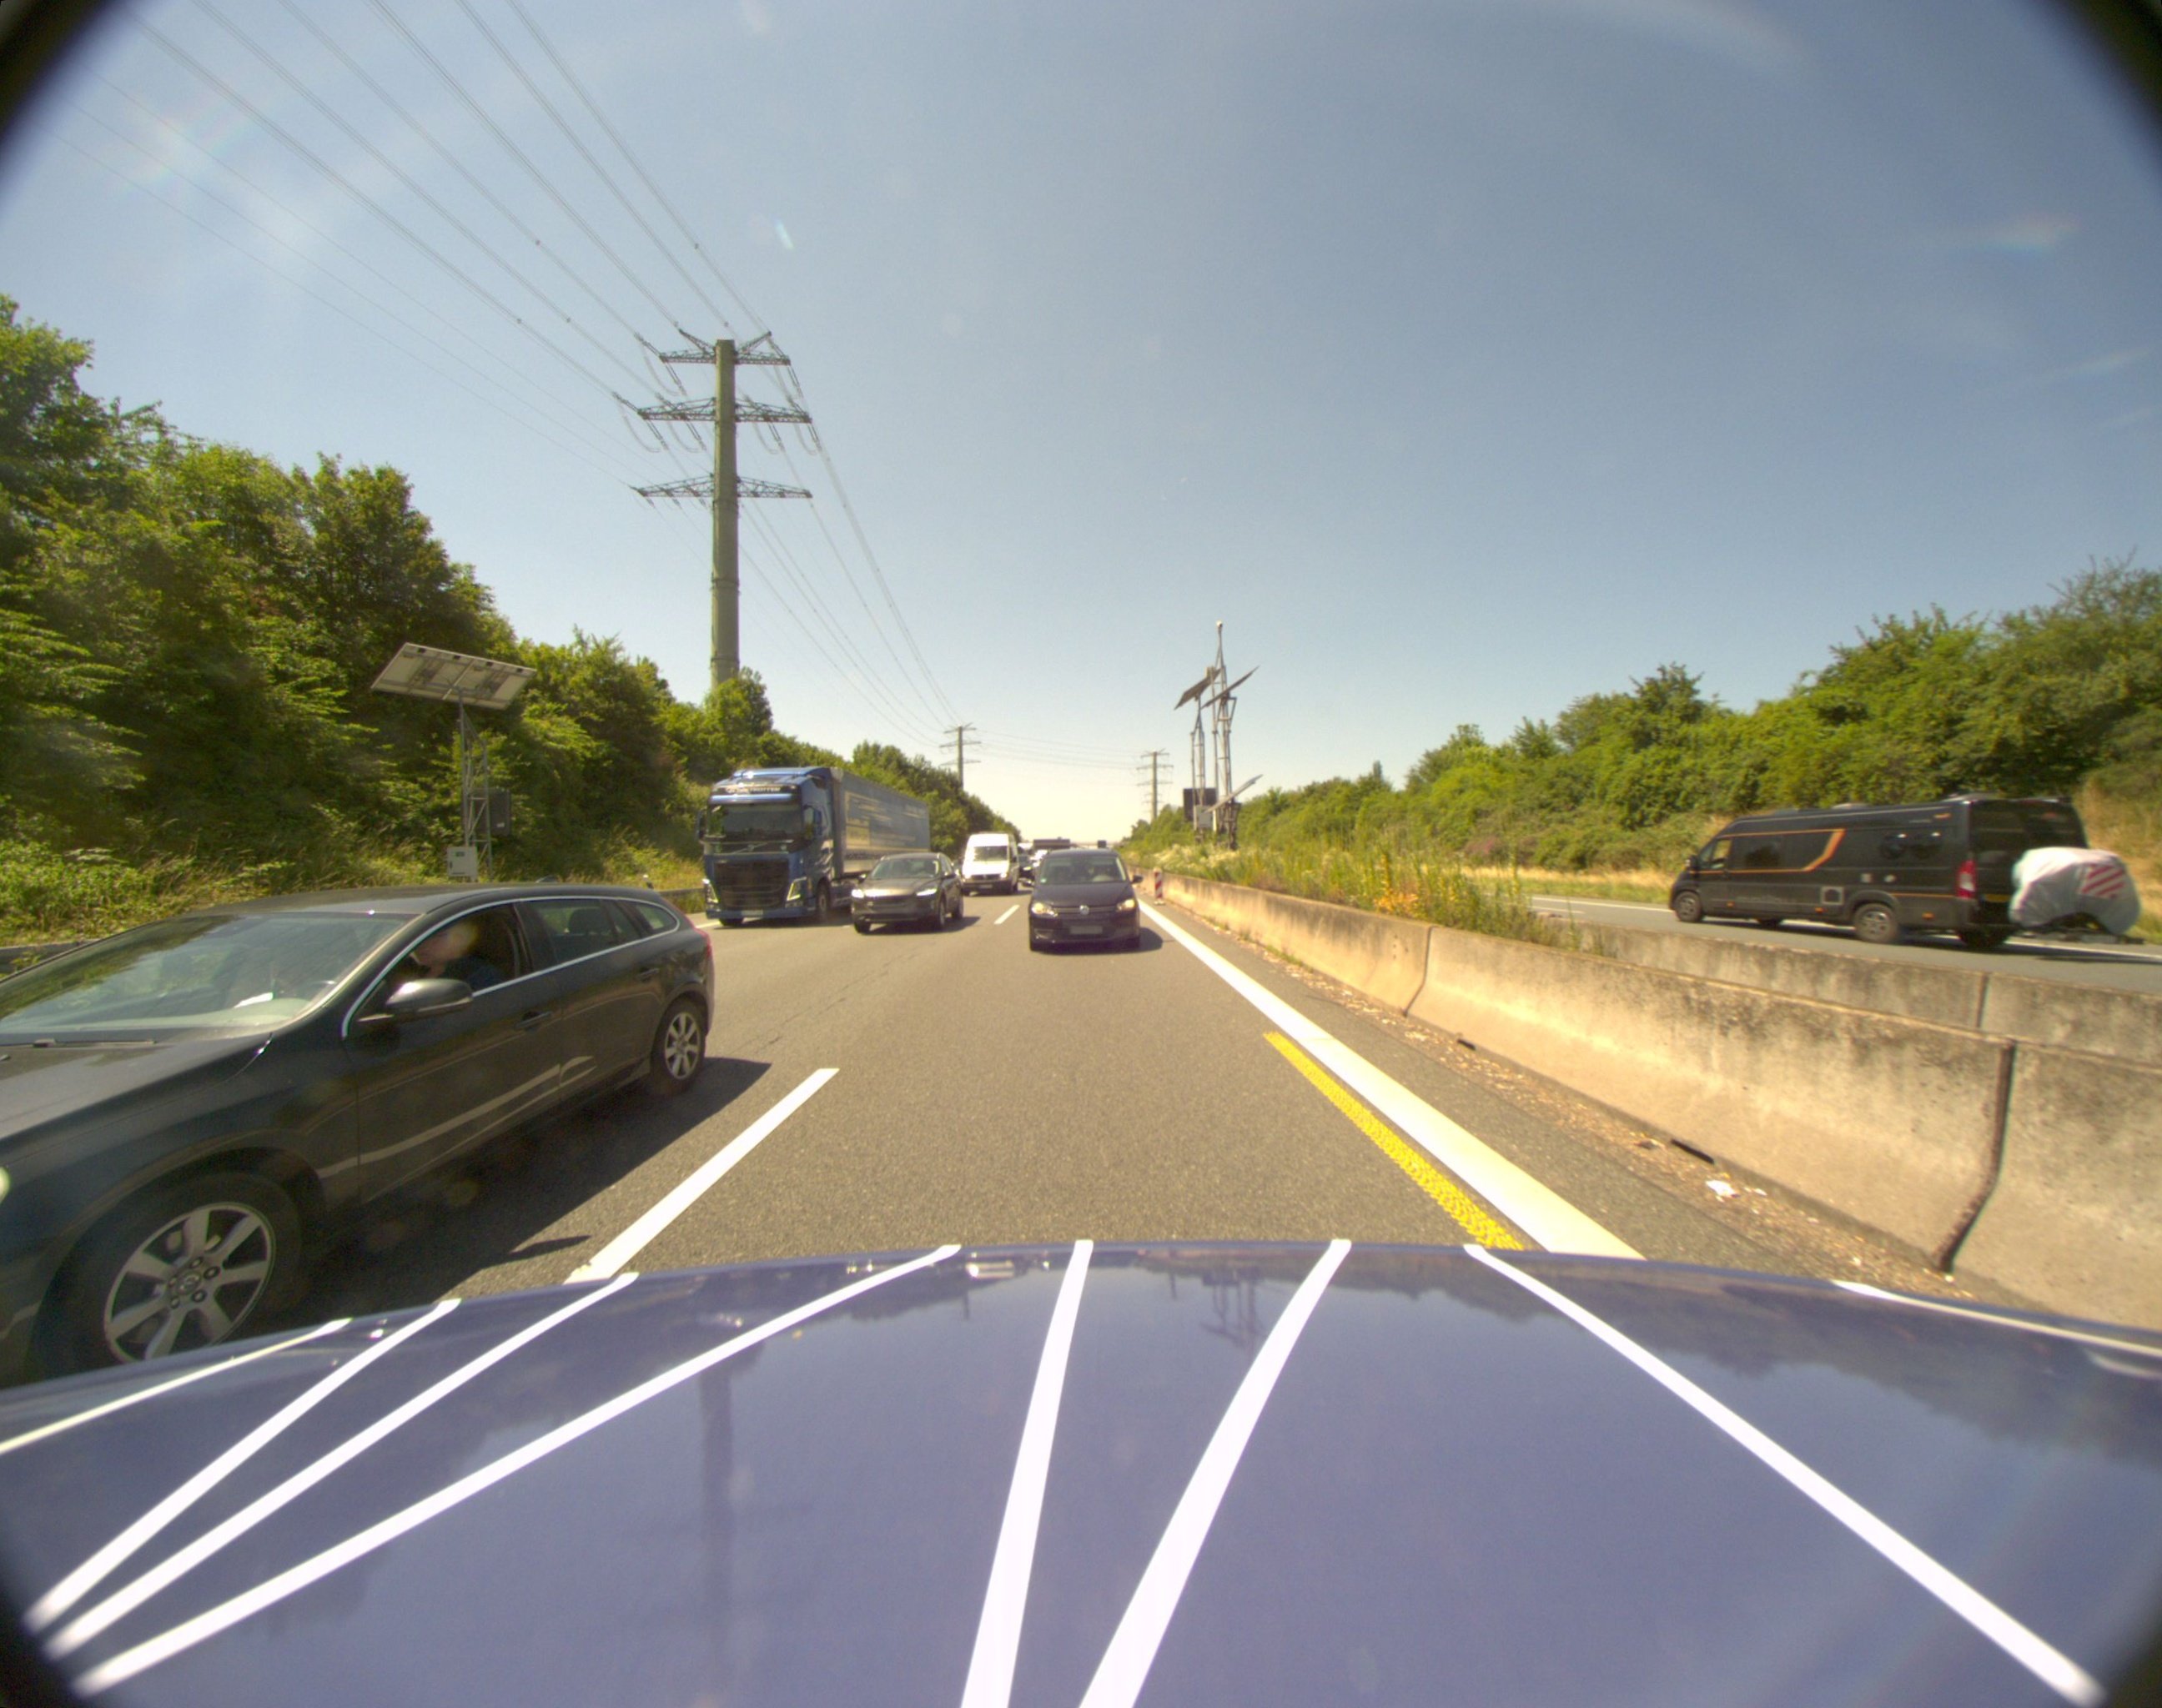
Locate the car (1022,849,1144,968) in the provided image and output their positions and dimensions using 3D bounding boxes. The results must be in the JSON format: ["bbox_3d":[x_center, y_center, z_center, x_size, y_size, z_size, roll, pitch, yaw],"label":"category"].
[{"bbox_3d":[0.033,0.772,13.120,1.700,1.641,4.219,-2,1,0],"label":"car"}]

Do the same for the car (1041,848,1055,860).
[{"bbox_3d":[-4.660,-0.046,106.463,1.720,1.510,3.873,-2,1,1],"label":"car"}]

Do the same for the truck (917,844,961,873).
[{"bbox_3d":[-11.092,0.304,59.920,2.253,2.155,5.728,-2,1,1],"label":"truck"}]

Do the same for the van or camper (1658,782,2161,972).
[{"bbox_3d":[14.892,0.299,14.471,2.228,2.695,7.079,1,1,-1],"label":"van or camper"}]

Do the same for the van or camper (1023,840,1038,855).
[{"bbox_3d":[-8.465,-1.122,128.025,1.979,2.511,4.369,-2,1,1],"label":"van or camper"}]

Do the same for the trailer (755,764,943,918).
[{"bbox_3d":[-7.683,-0.437,27.853,2.774,4.239,12.876,-2,1,0],"label":"trailer"}]

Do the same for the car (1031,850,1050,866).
[{"bbox_3d":[-4.301,0.408,81.041,1.720,1.510,3.873,-2,1,1],"label":"car"}]

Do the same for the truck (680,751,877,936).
[{"bbox_3d":[-7.678,-0.278,20.219,2.792,4.121,5.635,-2,1,0],"label":"truck"}]

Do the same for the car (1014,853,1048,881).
[{"bbox_3d":[-3.007,0.744,46.522,1.720,1.510,3.873,-2,1,1],"label":"car"}]

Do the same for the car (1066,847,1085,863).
[{"bbox_3d":[-0.612,0.052,84.809,1.973,1.682,3.873,-2,1,1],"label":"car"}]

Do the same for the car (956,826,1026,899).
[{"bbox_3d":[-3.668,0.271,32.307,2.042,2.703,6.704,-2,1,0],"label":"car"}]

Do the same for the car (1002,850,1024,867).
[{"bbox_3d":[-6.614,0.459,74.072,1.720,1.510,3.873,-2,1,1],"label":"car"}]

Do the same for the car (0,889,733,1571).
[{"bbox_3d":[-3.515,1.027,3.375,1.799,1.411,4.509,-2,1,0],"label":"car"}]

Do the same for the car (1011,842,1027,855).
[{"bbox_3d":[-7.939,-0.711,97.636,1.720,1.510,3.873,-2,1,1],"label":"car"}]

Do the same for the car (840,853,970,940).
[{"bbox_3d":[-3.787,0.833,17.147,1.893,1.602,4.219,-2,1,0],"label":"car"}]

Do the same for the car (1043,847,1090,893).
[{"bbox_3d":[-0.542,0.596,30.522,1.700,1.641,4.219,-2,1,0],"label":"car"}]

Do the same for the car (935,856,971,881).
[{"bbox_3d":[-8.604,0.951,51.293,1.720,1.510,3.873,-2,1,1],"label":"car"}]

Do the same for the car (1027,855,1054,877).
[{"bbox_3d":[-2.978,0.864,56.758,1.720,1.510,3.873,-2,1,1],"label":"car"}]

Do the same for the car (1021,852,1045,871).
[{"bbox_3d":[-4.055,0.599,64.721,1.720,1.510,3.873,-2,1,1],"label":"car"}]

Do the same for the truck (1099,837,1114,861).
[{"bbox_3d":[3.626,-0.690,108.884,1.892,3.264,5.590,-2,1,1],"label":"truck"}]
